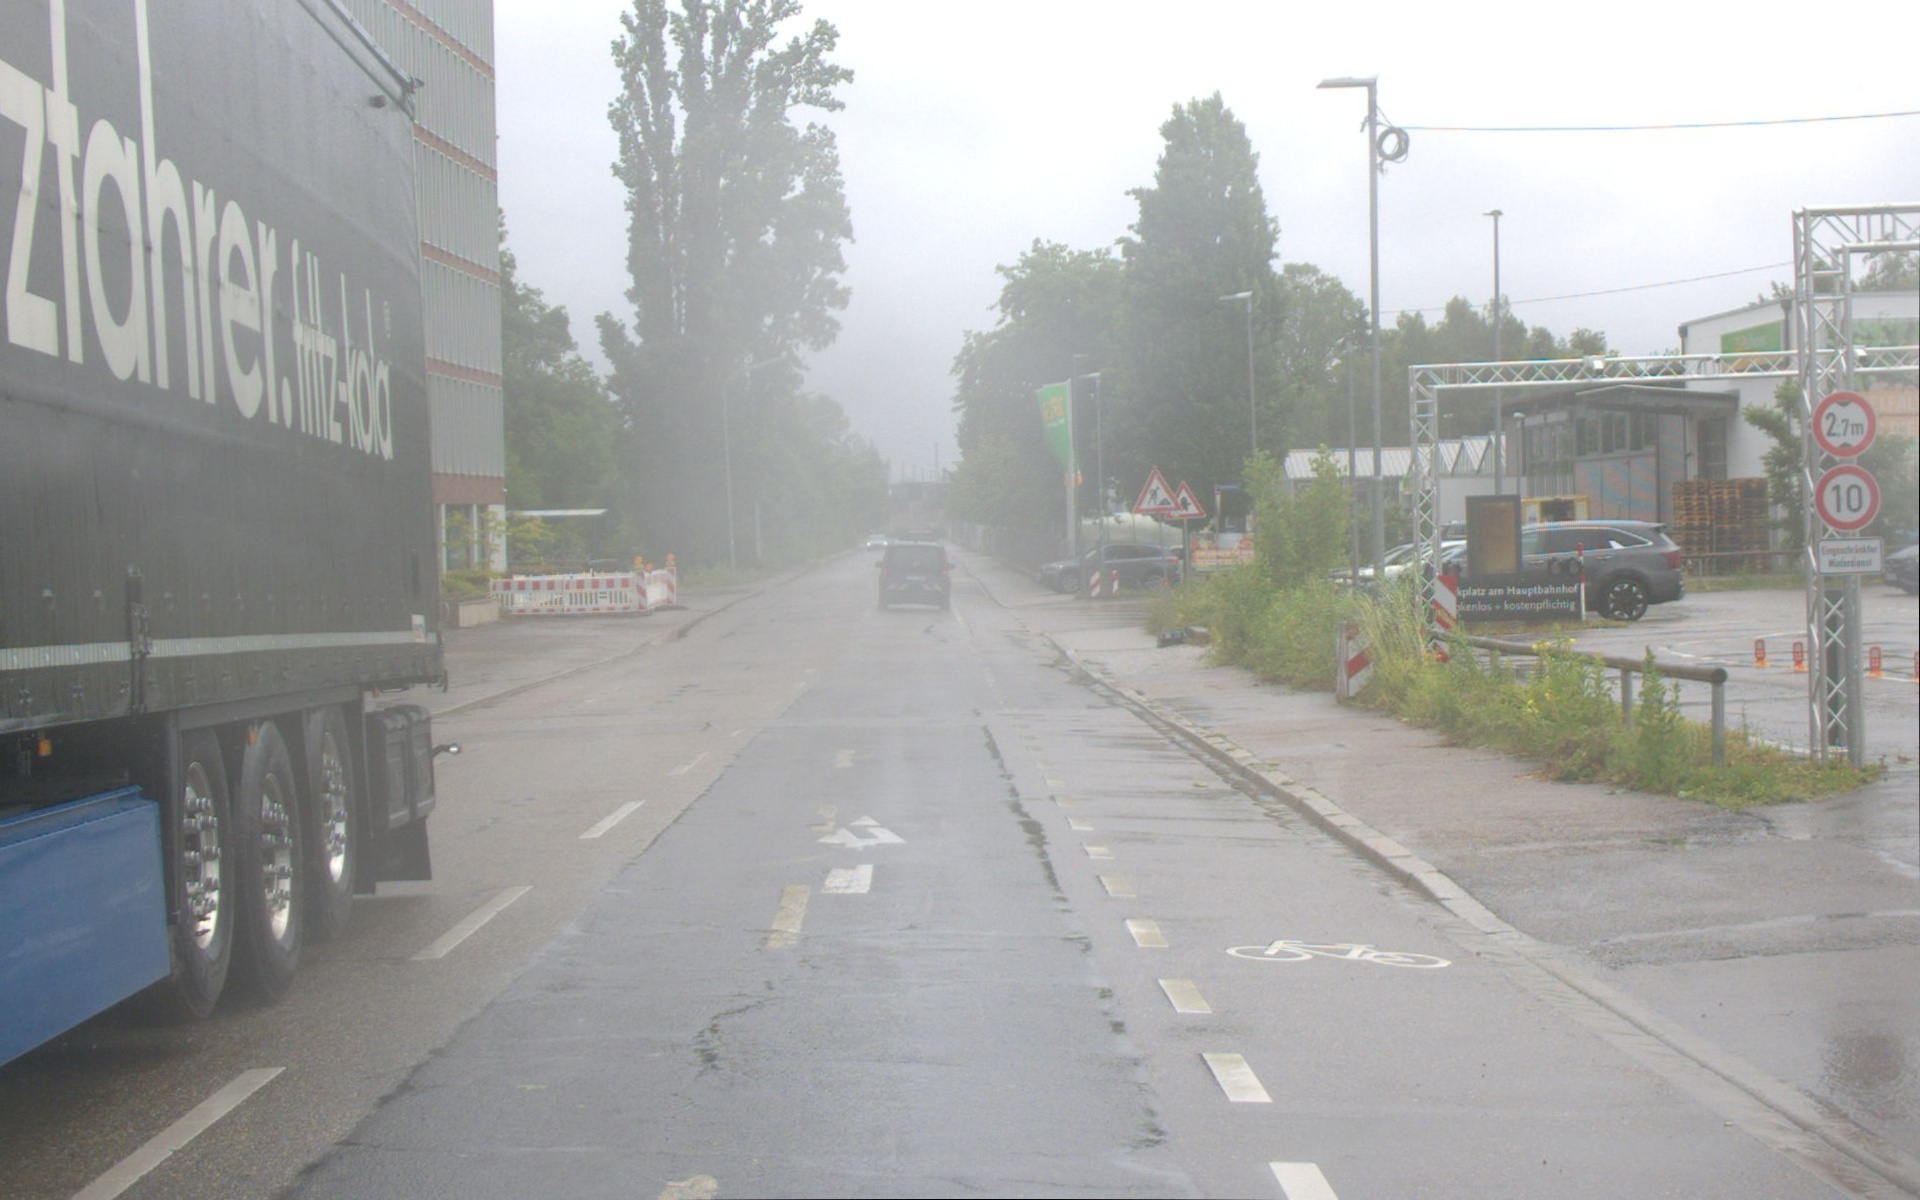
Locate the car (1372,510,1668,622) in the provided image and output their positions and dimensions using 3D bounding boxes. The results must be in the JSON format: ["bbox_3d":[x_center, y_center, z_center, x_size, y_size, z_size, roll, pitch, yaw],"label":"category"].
[{"bbox_3d":[9.336,-0.551,57.616,4.682,1.729,2.127,-1,-1,4],"label":"car"}]

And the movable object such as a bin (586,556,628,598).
[{"bbox_3d":[-11.313,-0.747,110.151,1.295,1.304,1.449,0,1,-6],"label":"movable object such as a bin"}]

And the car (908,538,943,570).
[{"bbox_3d":[-1.900,-2.541,190.060,1.730,1.681,3.897,0,0,2],"label":"car"}]

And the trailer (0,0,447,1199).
[{"bbox_3d":[-3.912,-0.698,9.532,3.294,4.638,13.734,-1,0,-2],"label":"trailer"}]

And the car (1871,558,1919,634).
[{"bbox_3d":[19.433,-0.060,64.821,3.987,1.404,2.000,0,-1,1],"label":"car"}]

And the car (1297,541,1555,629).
[{"bbox_3d":[8.170,-0.257,60.542,4.295,1.512,1.819,0,-1,0],"label":"car"}]

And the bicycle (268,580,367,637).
[{"bbox_3d":[-12.762,0.167,68.313,1.859,1.073,0.544,1,0,-1],"label":"bicycle"}]

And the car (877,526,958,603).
[{"bbox_3d":[-1.110,-0.903,88.229,1.993,1.904,4.201,-1,0,-1],"label":"car"}]

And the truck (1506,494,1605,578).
[{"bbox_3d":[19.858,-2.137,114.999,2.301,2.650,7.416,-2,1,3],"label":"truck"}]

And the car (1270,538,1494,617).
[{"bbox_3d":[8.251,-0.432,67.491,4.181,1.504,1.890,0,-1,0],"label":"car"}]

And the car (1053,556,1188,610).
[{"bbox_3d":[4.970,-0.541,106.719,4.136,1.563,1.765,-1,0,2],"label":"car"}]
